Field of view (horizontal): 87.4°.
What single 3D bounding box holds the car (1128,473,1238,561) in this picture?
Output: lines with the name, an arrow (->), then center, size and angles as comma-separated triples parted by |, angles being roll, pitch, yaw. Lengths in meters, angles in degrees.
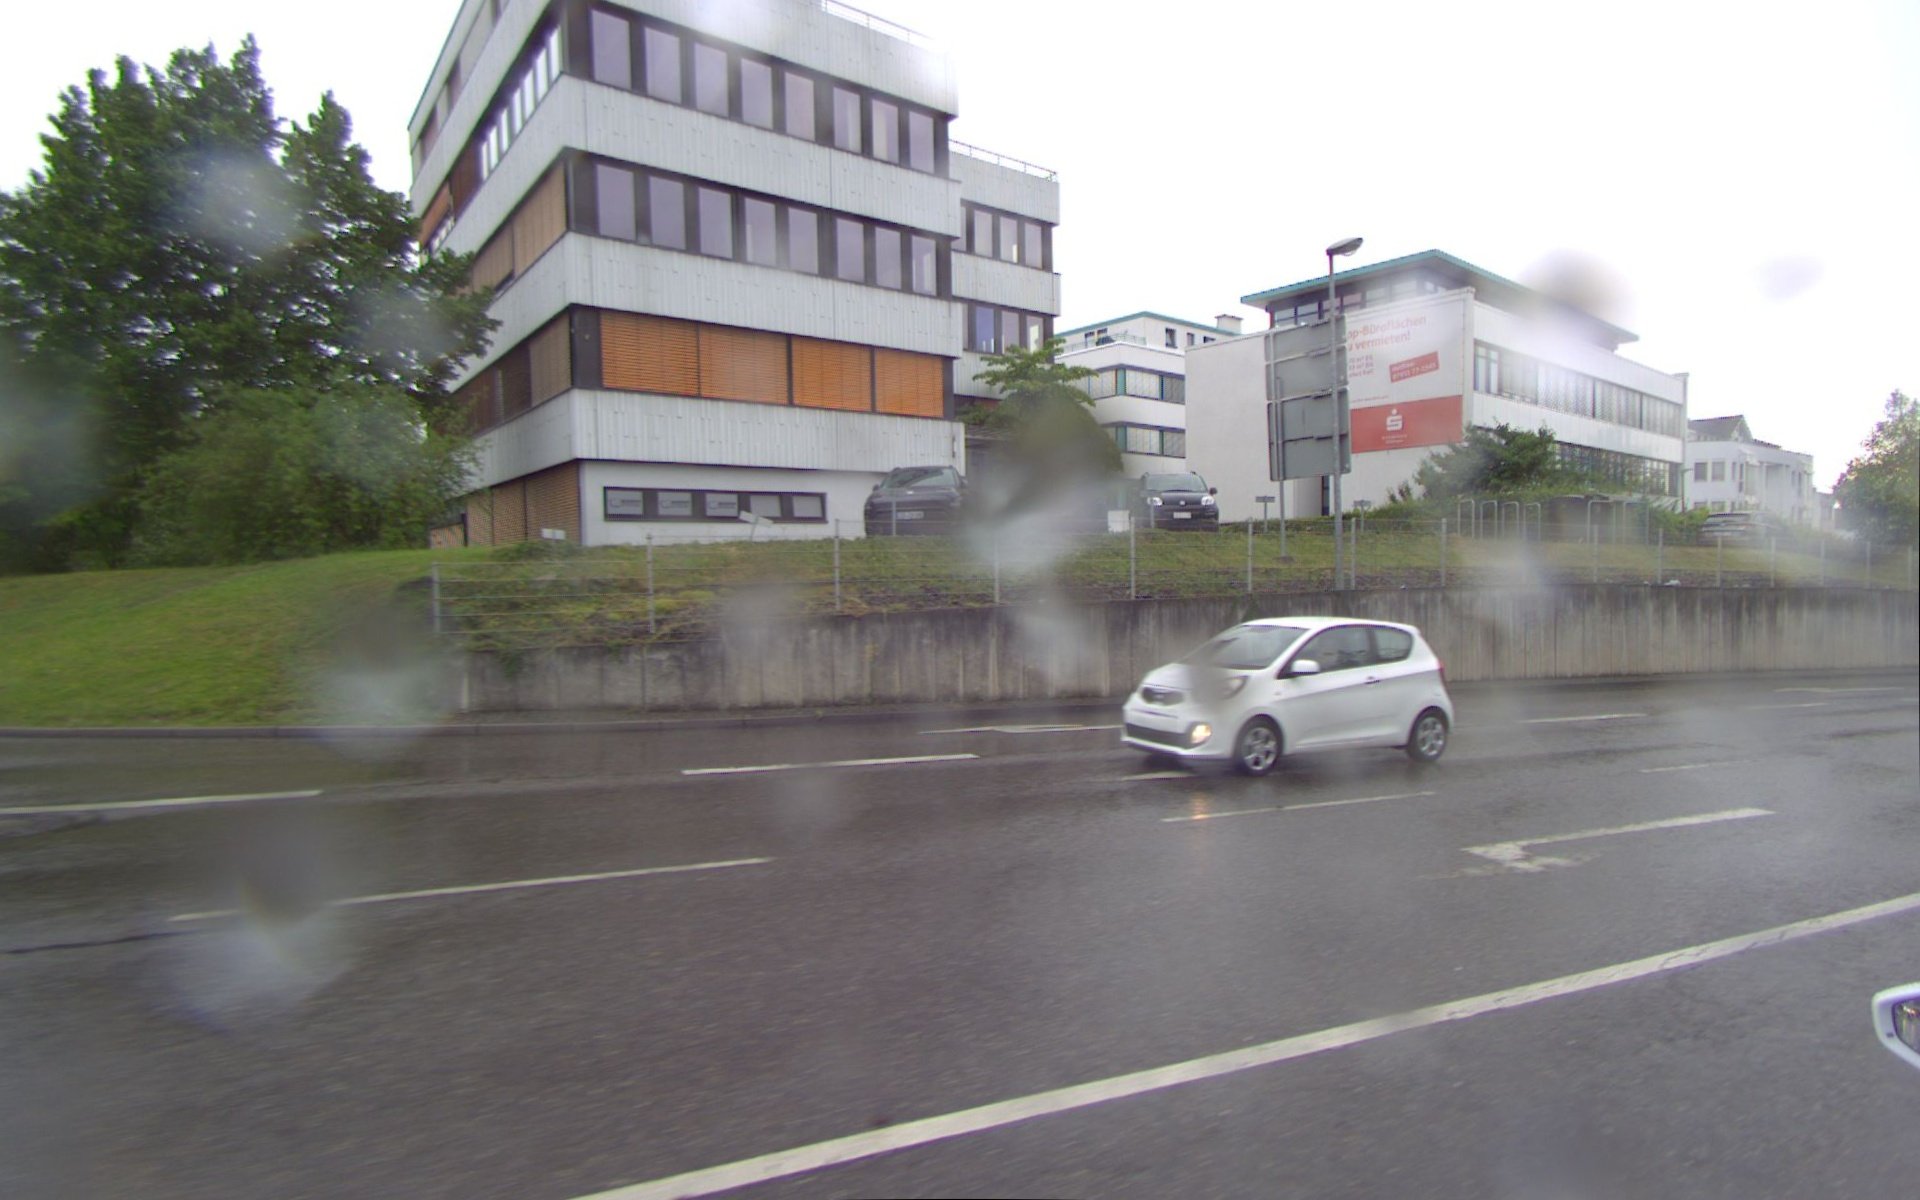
car -> 4.763, -1.738, 21.996 | 1.864, 1.607, 4.001 | 2, 2, 6

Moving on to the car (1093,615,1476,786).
car -> 3.422, 0.920, 10.549 | 3.743, 1.448, 1.647 | 0, 1, -26

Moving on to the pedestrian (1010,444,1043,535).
pedestrian -> 1.195, -1.975, 18.083 | 0.493, 1.571, 0.519 | 1, 1, -7

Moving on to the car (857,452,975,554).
car -> -0.732, -1.767, 19.306 | 1.864, 1.607, 4.000 | 2, 2, 2

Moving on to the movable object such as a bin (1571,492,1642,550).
movable object such as a bin -> 17.586, -2.127, 27.312 | 1.431, 1.456, 1.077 | 1, 2, -33

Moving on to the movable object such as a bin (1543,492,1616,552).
movable object such as a bin -> 16.360, -2.029, 26.516 | 1.431, 1.456, 1.077 | 1, 2, -33

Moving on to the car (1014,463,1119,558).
car -> 2.182, -1.733, 20.505 | 1.864, 1.607, 4.001 | 2, 2, 6

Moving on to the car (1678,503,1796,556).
car -> 25.244, -2.255, 32.615 | 3.957, 1.461, 1.816 | 1, 2, -33
